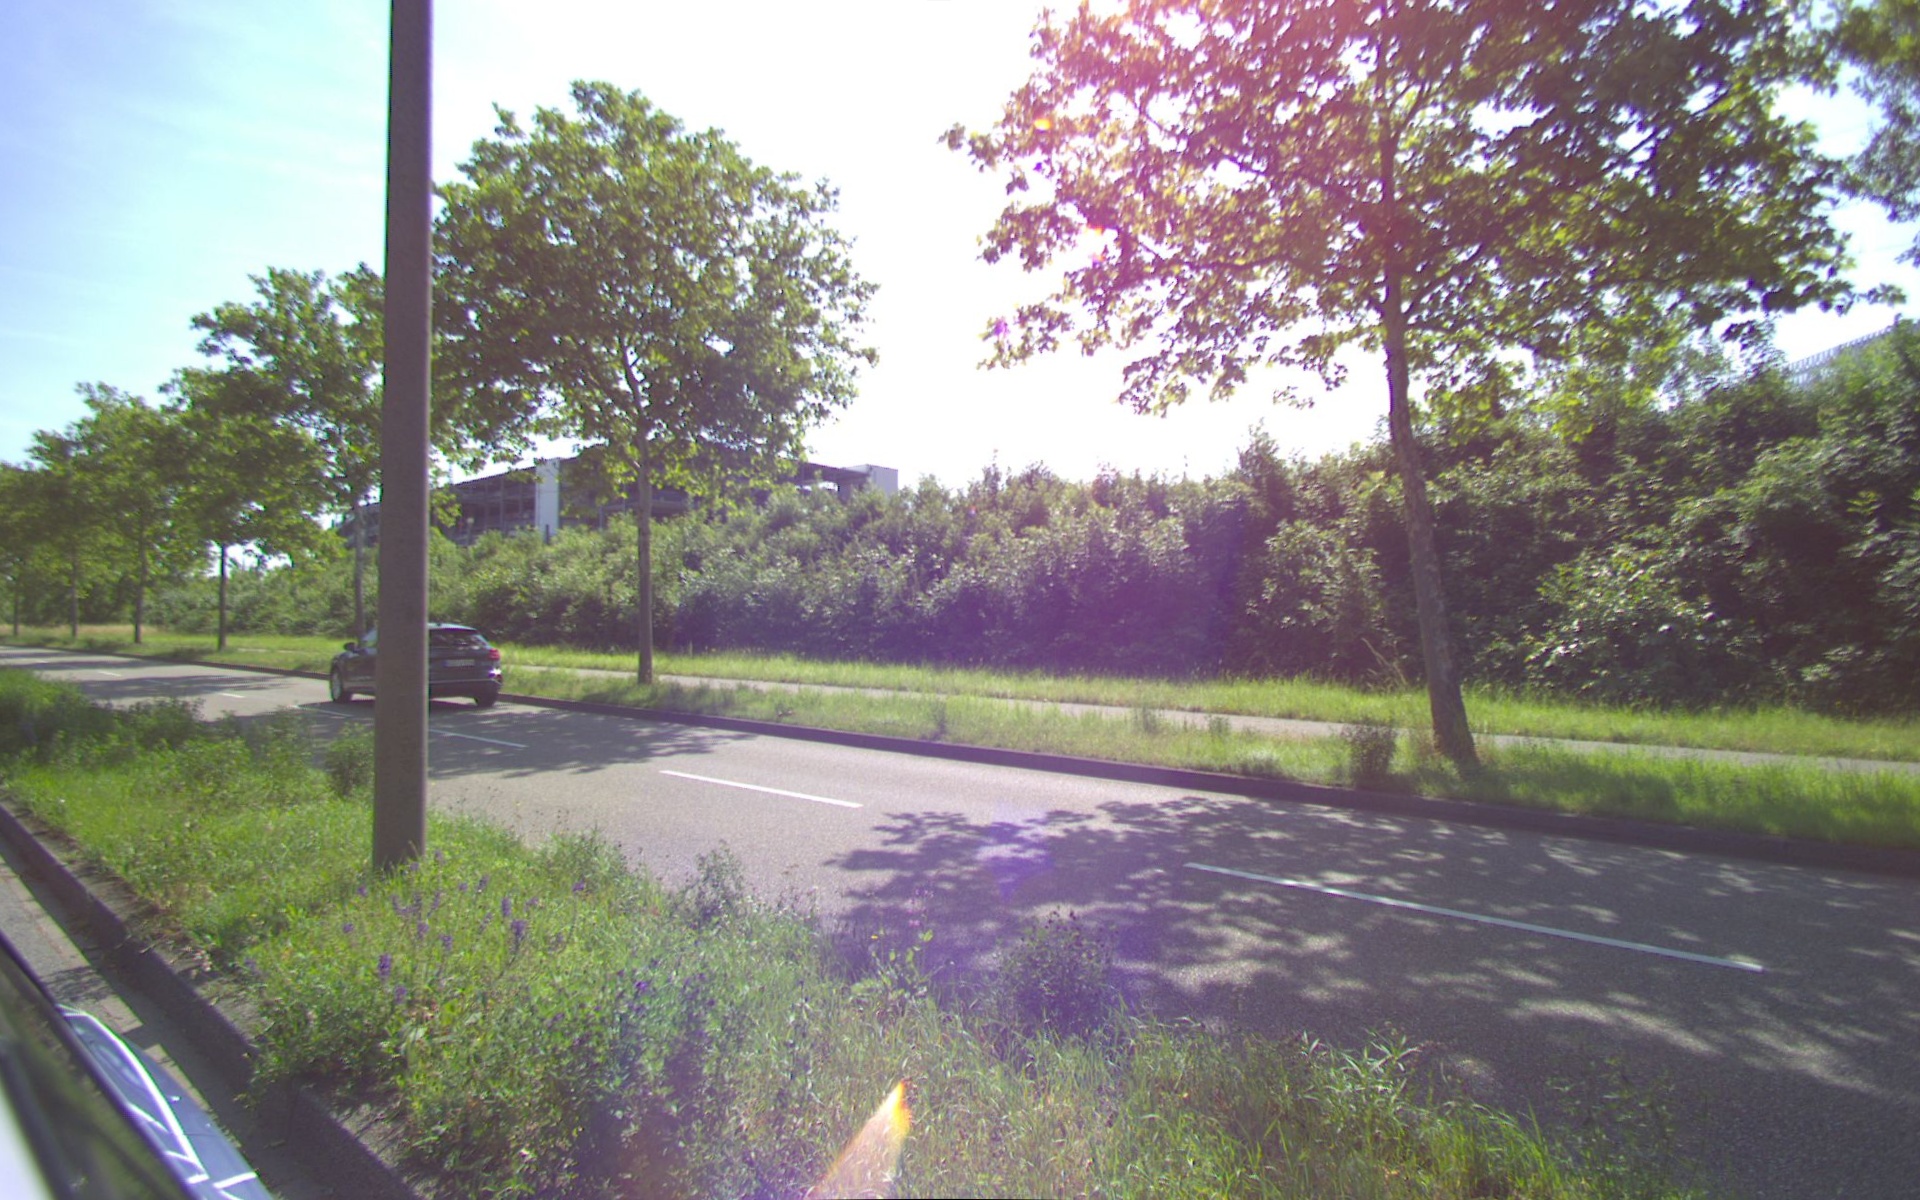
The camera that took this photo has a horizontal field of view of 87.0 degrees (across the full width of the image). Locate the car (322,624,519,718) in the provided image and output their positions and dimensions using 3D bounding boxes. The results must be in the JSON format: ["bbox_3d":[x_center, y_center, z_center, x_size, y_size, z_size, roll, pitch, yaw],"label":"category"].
[{"bbox_3d":[-9.860,1.195,18.392,3.935,1.478,1.844,0,-1,40],"label":"car"}]
